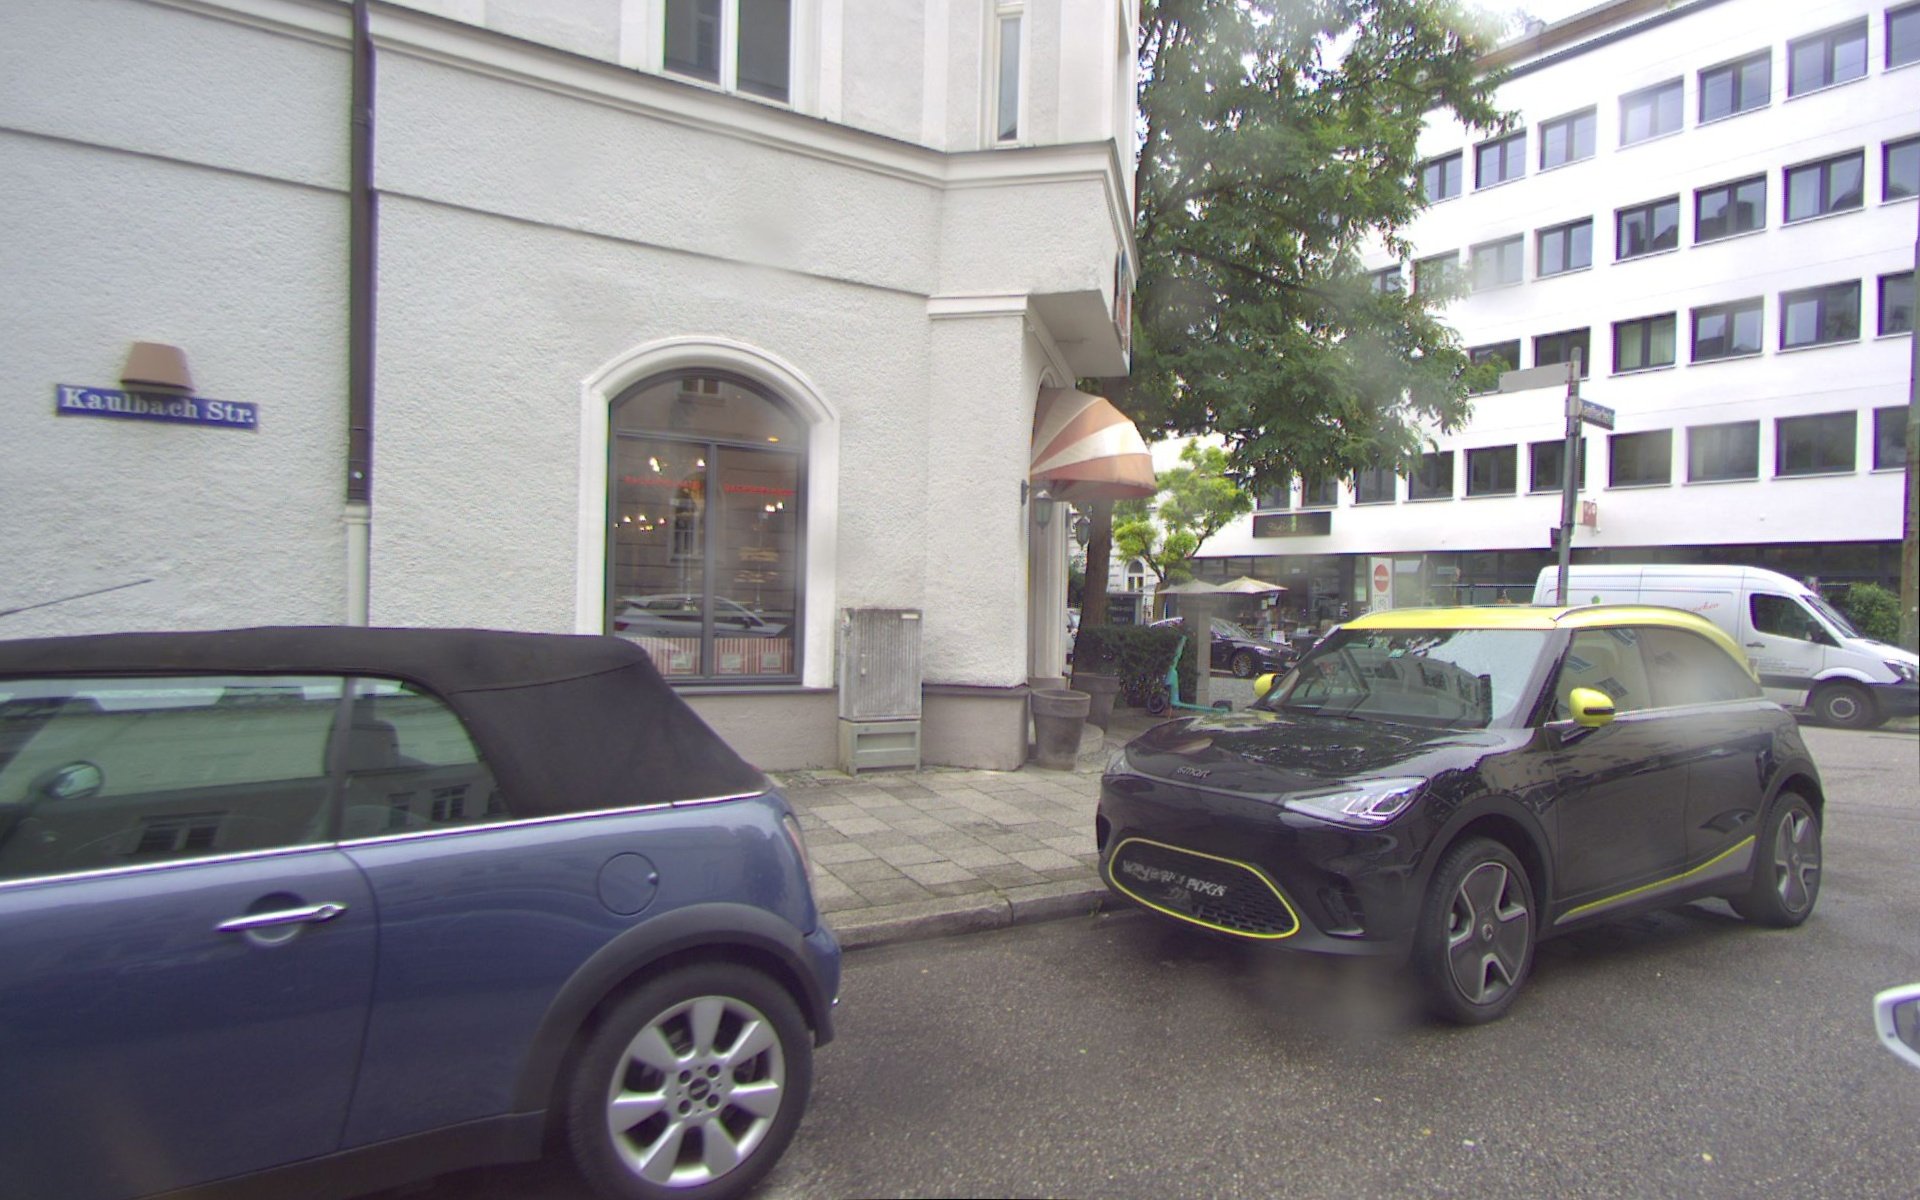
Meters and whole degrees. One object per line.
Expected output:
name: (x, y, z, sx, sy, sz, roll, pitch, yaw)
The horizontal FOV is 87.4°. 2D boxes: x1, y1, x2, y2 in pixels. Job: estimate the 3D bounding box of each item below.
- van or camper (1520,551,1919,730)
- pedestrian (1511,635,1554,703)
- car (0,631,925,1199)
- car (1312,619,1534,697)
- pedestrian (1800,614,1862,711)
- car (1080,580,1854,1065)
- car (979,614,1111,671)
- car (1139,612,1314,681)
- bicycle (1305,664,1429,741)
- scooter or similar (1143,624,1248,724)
van or camper: (13.529, 0.661, 17.940, 1.858, 2.712, 5.857, 4, -2, -39)
pedestrian: (13.168, 1.574, 23.114, 0.580, 1.501, 0.653, 3, 0, 3)
car: (-2.225, 0.781, 2.450, 3.950, 1.408, 1.700, 2, -2, -28)
car: (10.006, 1.233, 21.906, 1.788, 1.447, 4.014, 5, -3, -43)
pedestrian: (17.058, 1.201, 19.693, 0.767, 1.808, 0.617, 3, 3, 34)
car: (2.668, 0.830, 5.095, 3.899, 1.618, 1.669, 2, -3, -31)
car: (2.583, 1.291, 31.200, 1.784, 1.564, 4.094, 3, -2, -37)
car: (6.752, 1.149, 25.792, 1.785, 1.564, 4.092, 4, -2, -38)
bicycle: (6.002, 1.483, 14.819, 1.537, 0.959, 0.897, 2, -1, 33)
scooter or similar: (3.048, 0.949, 13.015, 1.169, 1.232, 0.553, 2, 1, -19)
